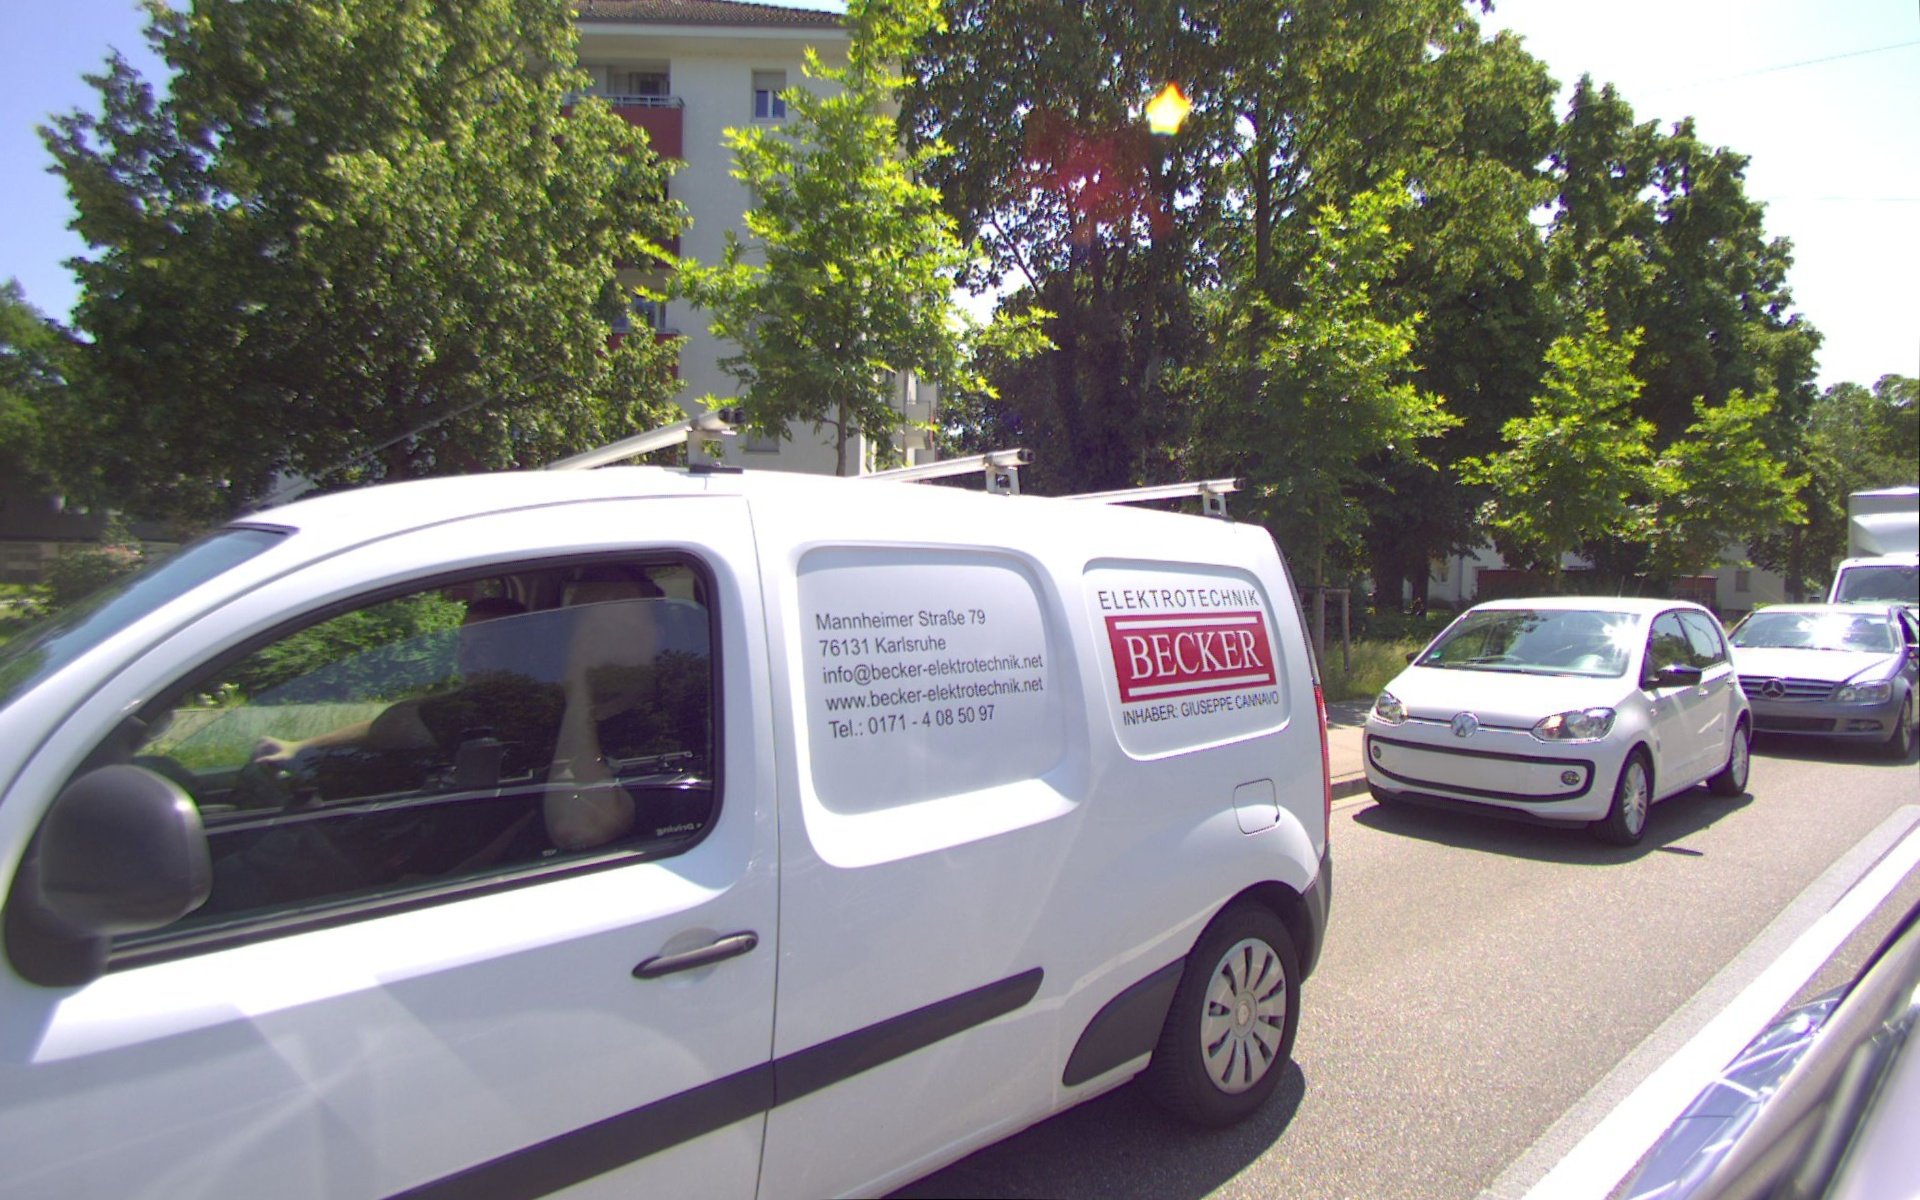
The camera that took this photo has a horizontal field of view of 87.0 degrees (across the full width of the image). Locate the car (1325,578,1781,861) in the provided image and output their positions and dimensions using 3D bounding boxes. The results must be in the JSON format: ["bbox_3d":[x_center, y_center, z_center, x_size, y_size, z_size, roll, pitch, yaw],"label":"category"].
[{"bbox_3d":[4.394,0.624,7.286,3.705,1.497,1.729,0,1,-41],"label":"car"}]

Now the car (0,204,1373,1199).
[{"bbox_3d":[-0.999,0.456,2.532,4.370,1.849,1.997,0,1,-41],"label":"car"}]

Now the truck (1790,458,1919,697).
[{"bbox_3d":[16.510,-0.334,16.972,7.778,3.387,2.434,0,1,-39],"label":"truck"}]

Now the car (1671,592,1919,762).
[{"bbox_3d":[9.227,0.657,10.737,4.016,1.426,1.839,0,1,-41],"label":"car"}]
